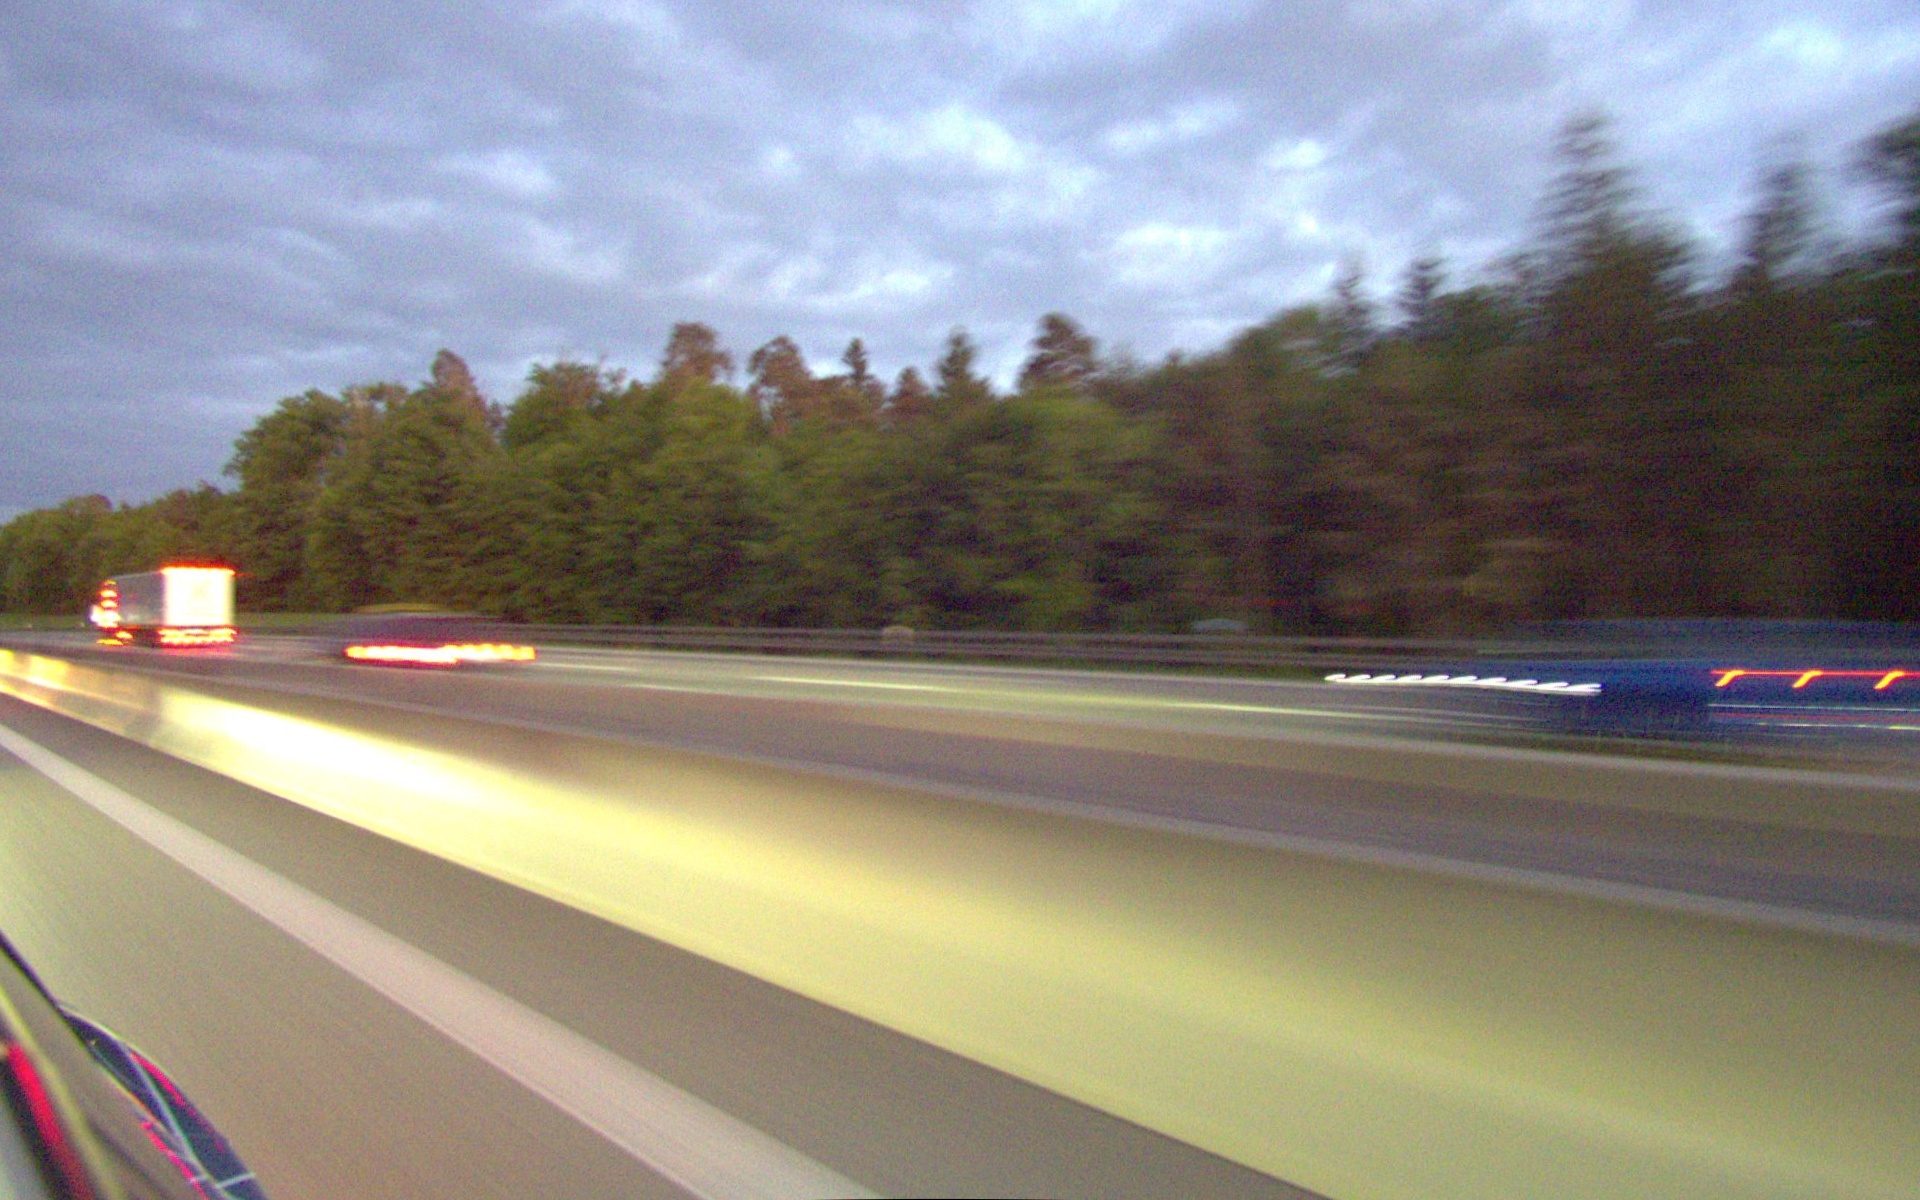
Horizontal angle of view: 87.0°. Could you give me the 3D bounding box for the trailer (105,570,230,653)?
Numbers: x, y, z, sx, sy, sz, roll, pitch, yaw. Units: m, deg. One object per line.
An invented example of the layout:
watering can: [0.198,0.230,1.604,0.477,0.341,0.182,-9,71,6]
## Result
trailer: [-44.461,0.710,56.476,14.314,4.163,2.623,-1,-1,40]

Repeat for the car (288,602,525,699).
car: [-9.633,0.805,17.418,5.143,1.435,1.972,-1,-2,42]

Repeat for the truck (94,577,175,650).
truck: [-49.717,0.826,60.891,6.519,4.163,2.623,-1,-1,40]

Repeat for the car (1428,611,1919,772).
car: [7.838,0.855,10.906,4.743,1.435,1.893,-1,-2,40]
